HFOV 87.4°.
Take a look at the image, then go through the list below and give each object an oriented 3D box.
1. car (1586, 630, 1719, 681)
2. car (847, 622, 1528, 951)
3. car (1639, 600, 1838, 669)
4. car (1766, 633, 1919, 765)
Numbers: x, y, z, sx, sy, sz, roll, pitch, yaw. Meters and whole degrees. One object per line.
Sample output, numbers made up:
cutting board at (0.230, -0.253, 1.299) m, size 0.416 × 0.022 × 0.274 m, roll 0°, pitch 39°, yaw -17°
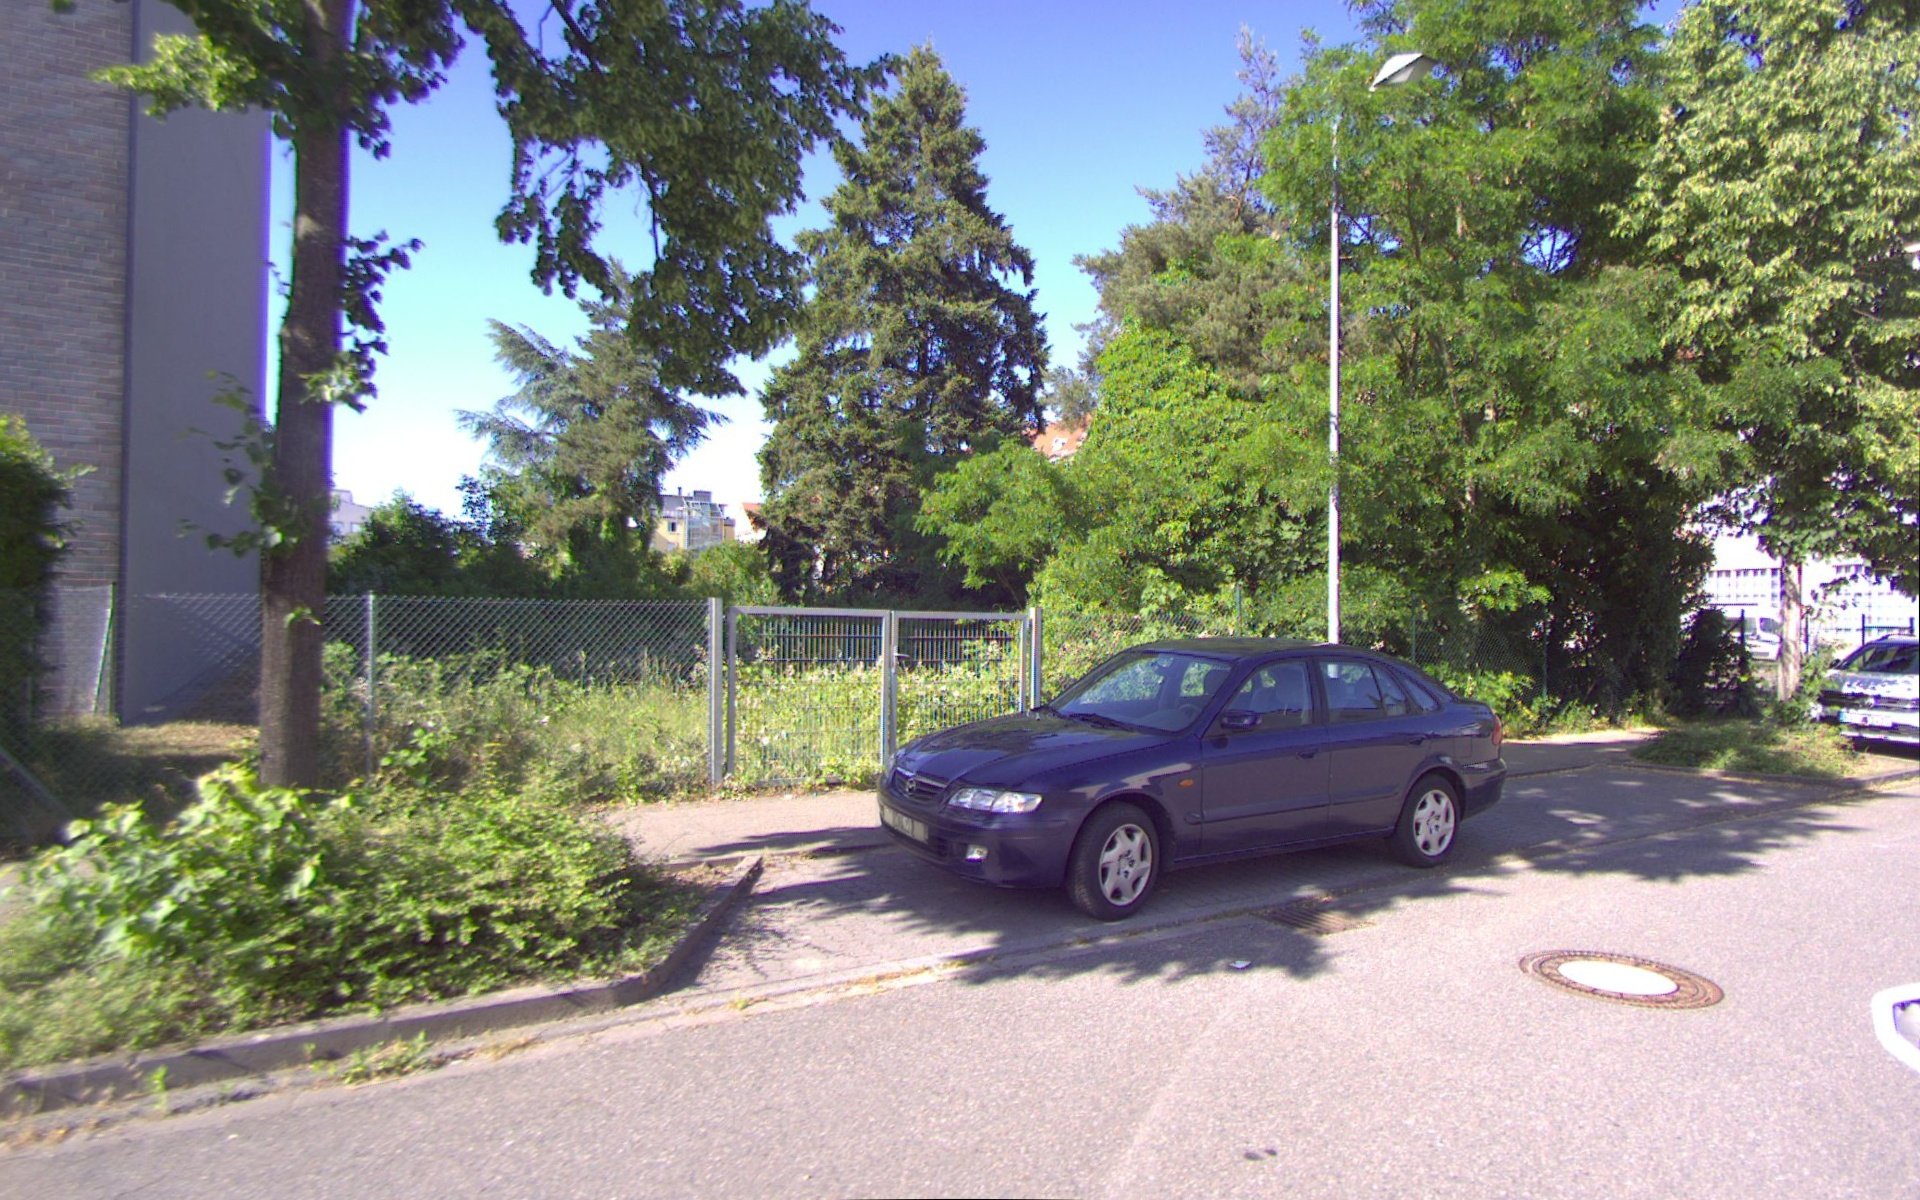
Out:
car at (23.808, 1.879, 34.509) m, size 4.370 × 1.631 × 1.986 m, roll 1°, pitch -1°, yaw -28°
car at (1.613, 0.960, 6.656) m, size 4.309 × 1.493 × 1.831 m, roll 2°, pitch 0°, yaw -31°
car at (32.203, 1.424, 41.821) m, size 2.139 × 2.631 × 6.234 m, roll 1°, pitch -2°, yaw -30°
car at (12.774, 1.249, 13.419) m, size 3.956 × 1.493 × 1.831 m, roll 2°, pitch 0°, yaw -31°
